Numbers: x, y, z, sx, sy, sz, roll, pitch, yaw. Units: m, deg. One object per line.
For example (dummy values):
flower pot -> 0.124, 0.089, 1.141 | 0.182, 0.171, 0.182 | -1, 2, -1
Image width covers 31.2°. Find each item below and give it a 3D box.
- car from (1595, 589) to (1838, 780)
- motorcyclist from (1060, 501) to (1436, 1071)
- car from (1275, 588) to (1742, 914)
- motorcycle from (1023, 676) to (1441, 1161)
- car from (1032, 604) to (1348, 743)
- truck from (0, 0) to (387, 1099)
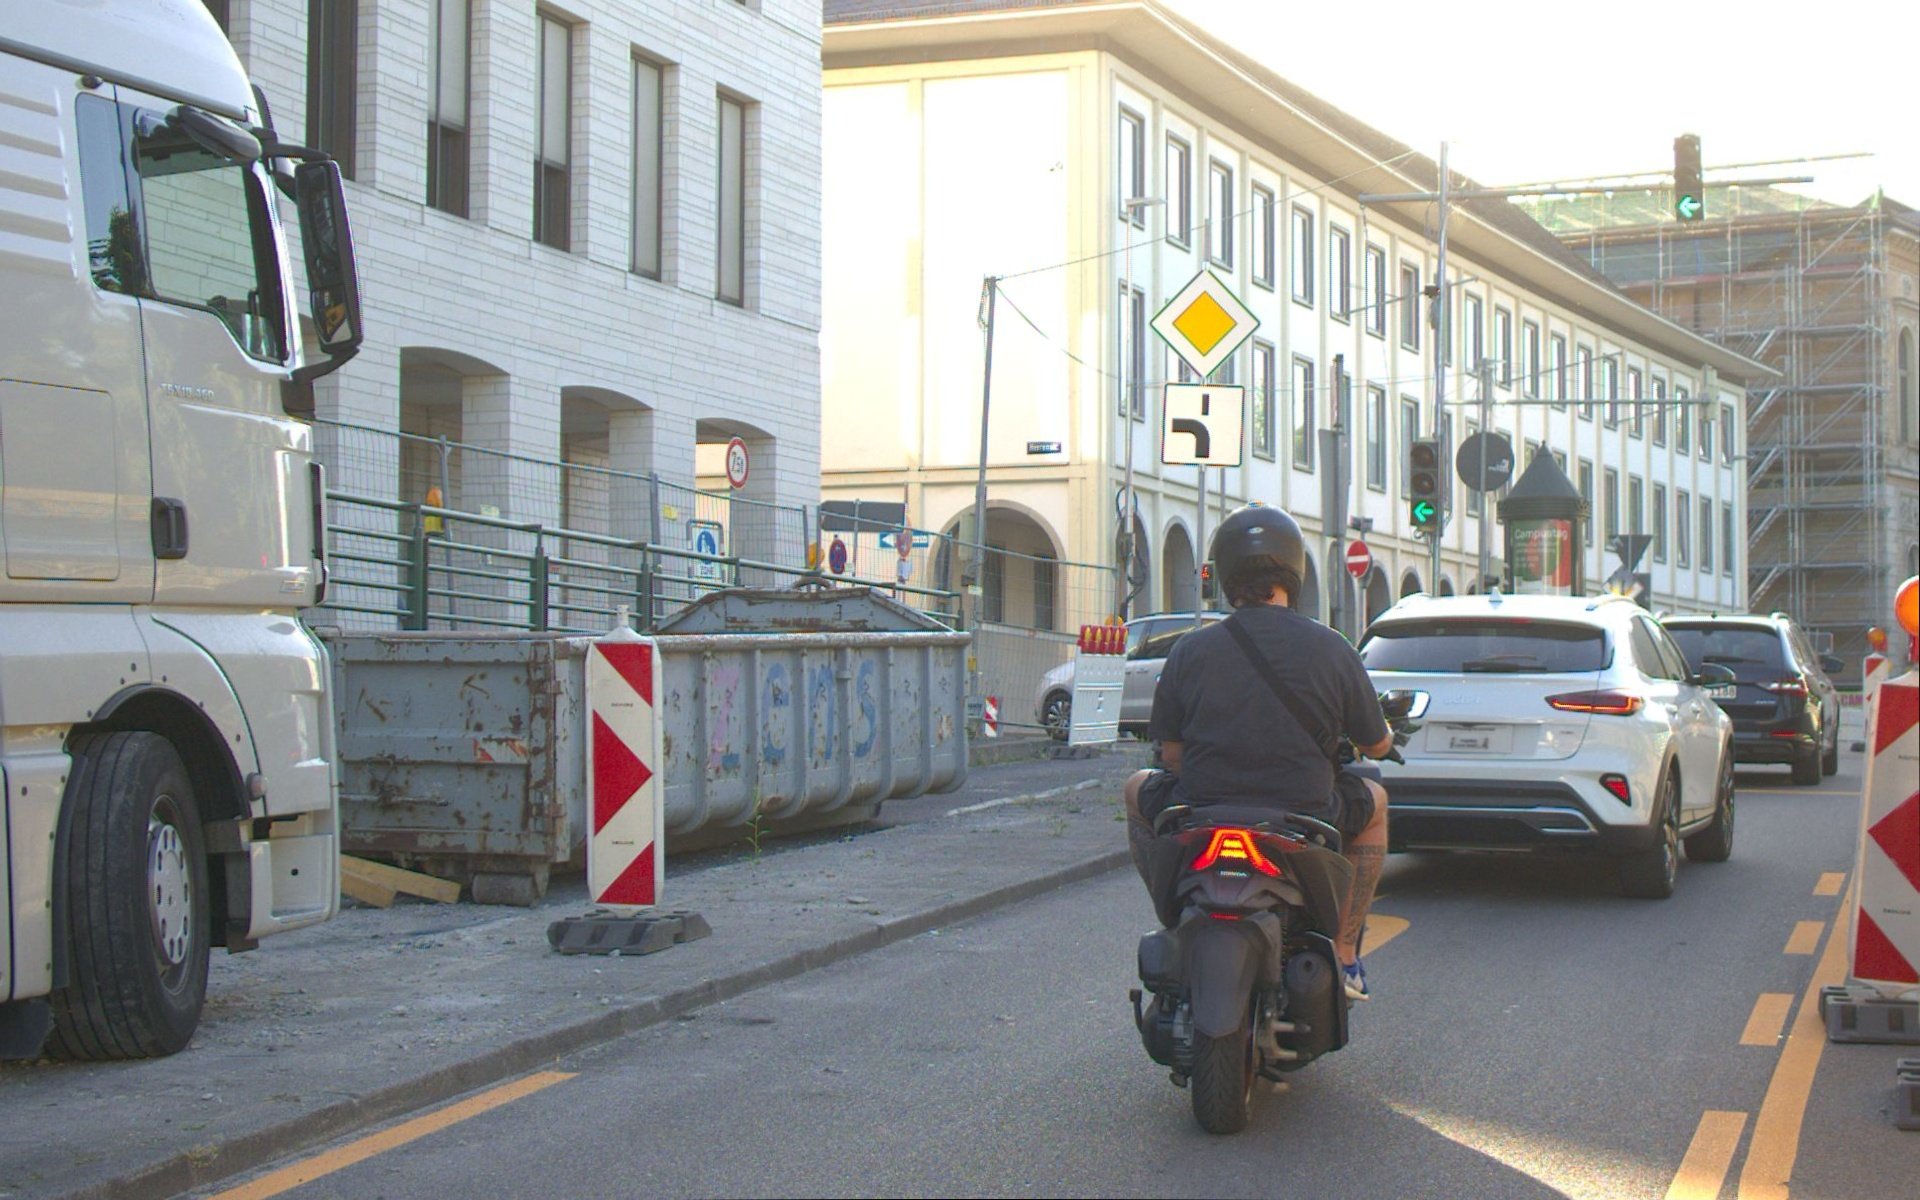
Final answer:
car -> 6.674, 0.748, 30.057 | 1.775, 1.545, 4.103 | -1, -2, 16
motorcyclist -> 0.871, 0.509, 10.090 | 0.954, 1.554, 1.238 | 0, 0, 12
car -> 2.986, 0.688, 18.014 | 1.861, 1.467, 3.997 | 1, 1, 17
motorcycle -> 0.871, 0.841, 10.104 | 0.906, 1.179, 2.577 | 0, 0, 12
car -> 2.993, 0.922, 45.413 | 1.804, 1.715, 4.161 | 0, 0, -39
truck -> -4.049, -0.320, 8.977 | 2.581, 3.478, 5.811 | -4, -1, 16
